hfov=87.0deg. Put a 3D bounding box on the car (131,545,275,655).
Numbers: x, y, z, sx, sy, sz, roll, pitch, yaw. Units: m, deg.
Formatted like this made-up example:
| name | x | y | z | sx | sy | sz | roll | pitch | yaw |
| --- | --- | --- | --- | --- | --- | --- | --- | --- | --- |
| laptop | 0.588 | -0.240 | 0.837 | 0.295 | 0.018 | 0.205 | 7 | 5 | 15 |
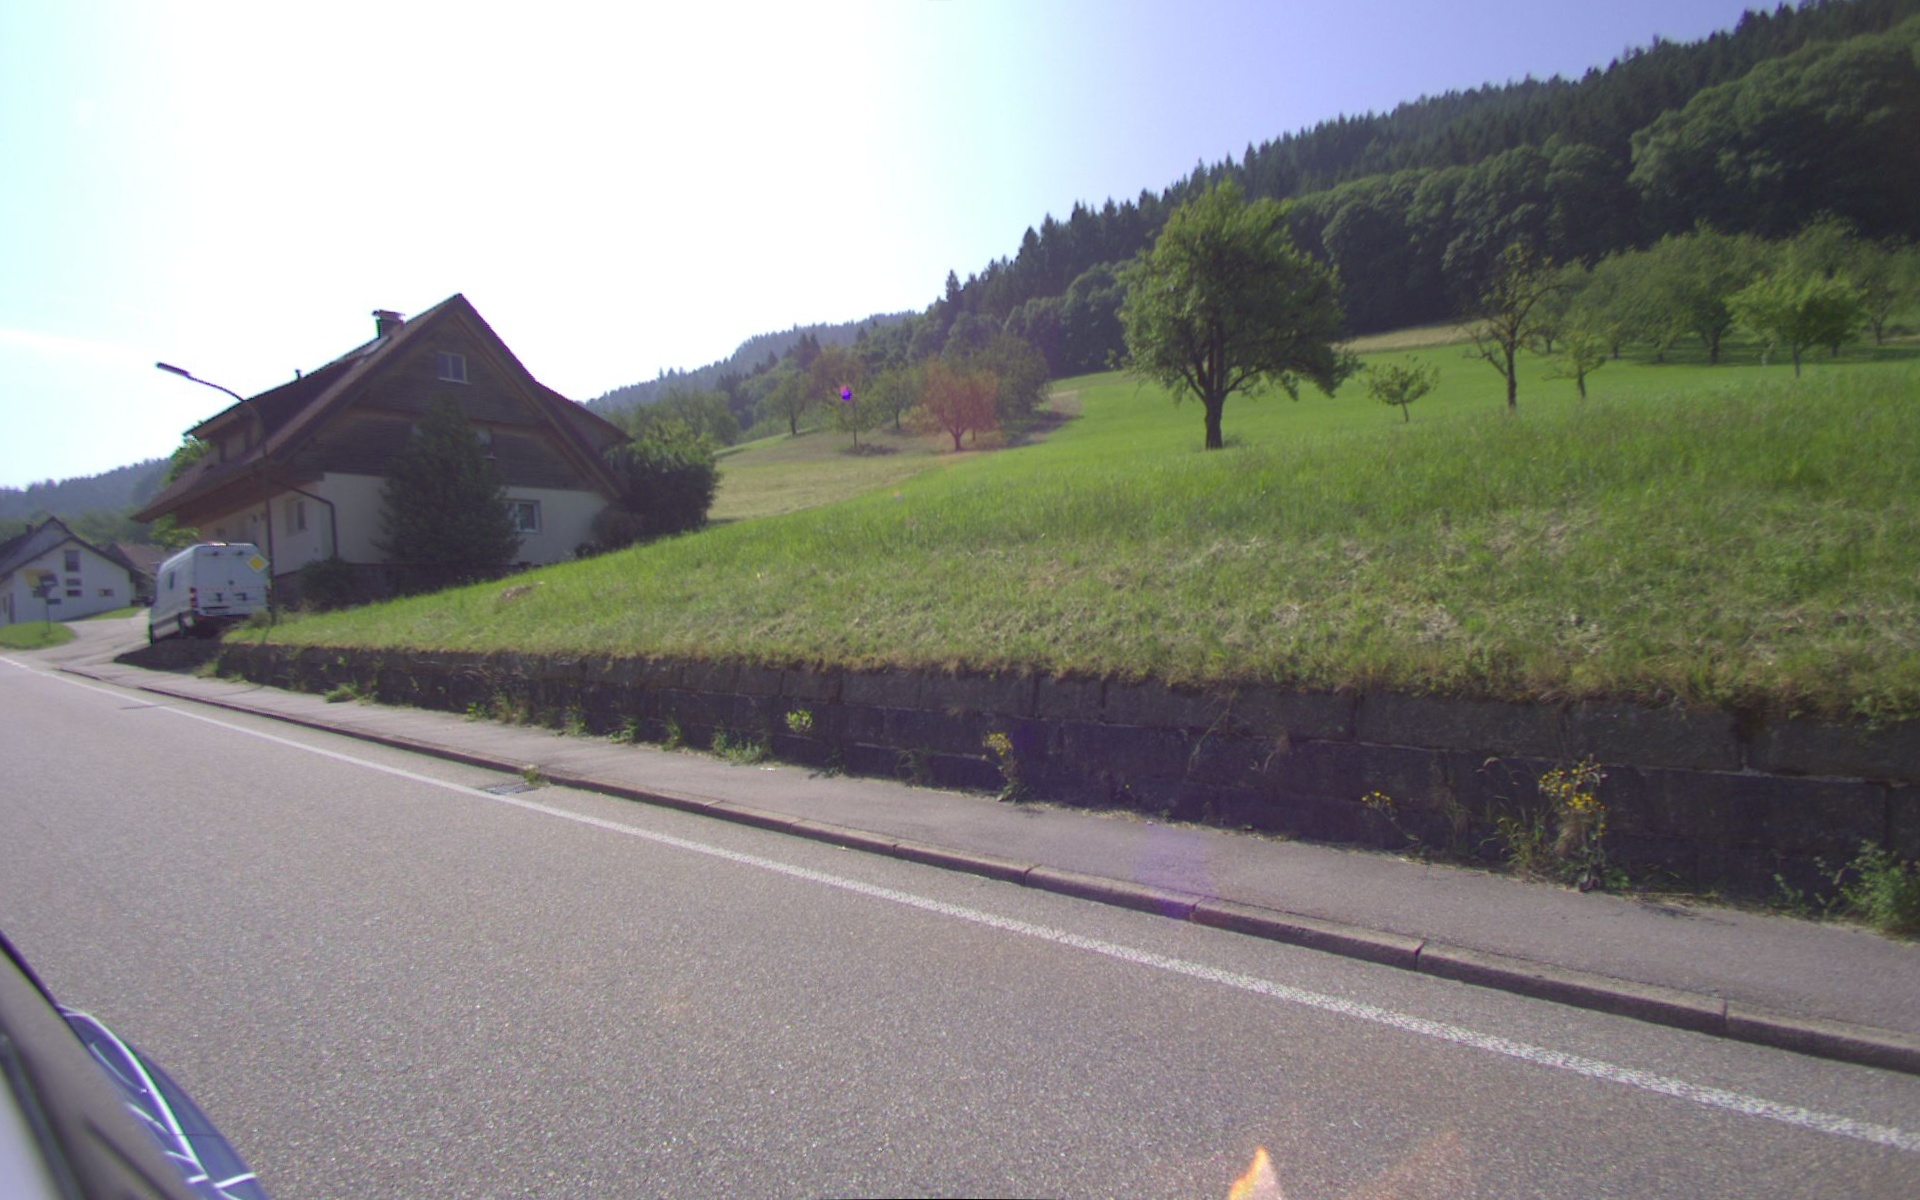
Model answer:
| name | x | y | z | sx | sy | sz | roll | pitch | yaw |
| --- | --- | --- | --- | --- | --- | --- | --- | --- | --- |
| car | -23.522 | 0.078 | 31.295 | 7.171 | 2.708 | 2.046 | -6 | -1 | 42 |
